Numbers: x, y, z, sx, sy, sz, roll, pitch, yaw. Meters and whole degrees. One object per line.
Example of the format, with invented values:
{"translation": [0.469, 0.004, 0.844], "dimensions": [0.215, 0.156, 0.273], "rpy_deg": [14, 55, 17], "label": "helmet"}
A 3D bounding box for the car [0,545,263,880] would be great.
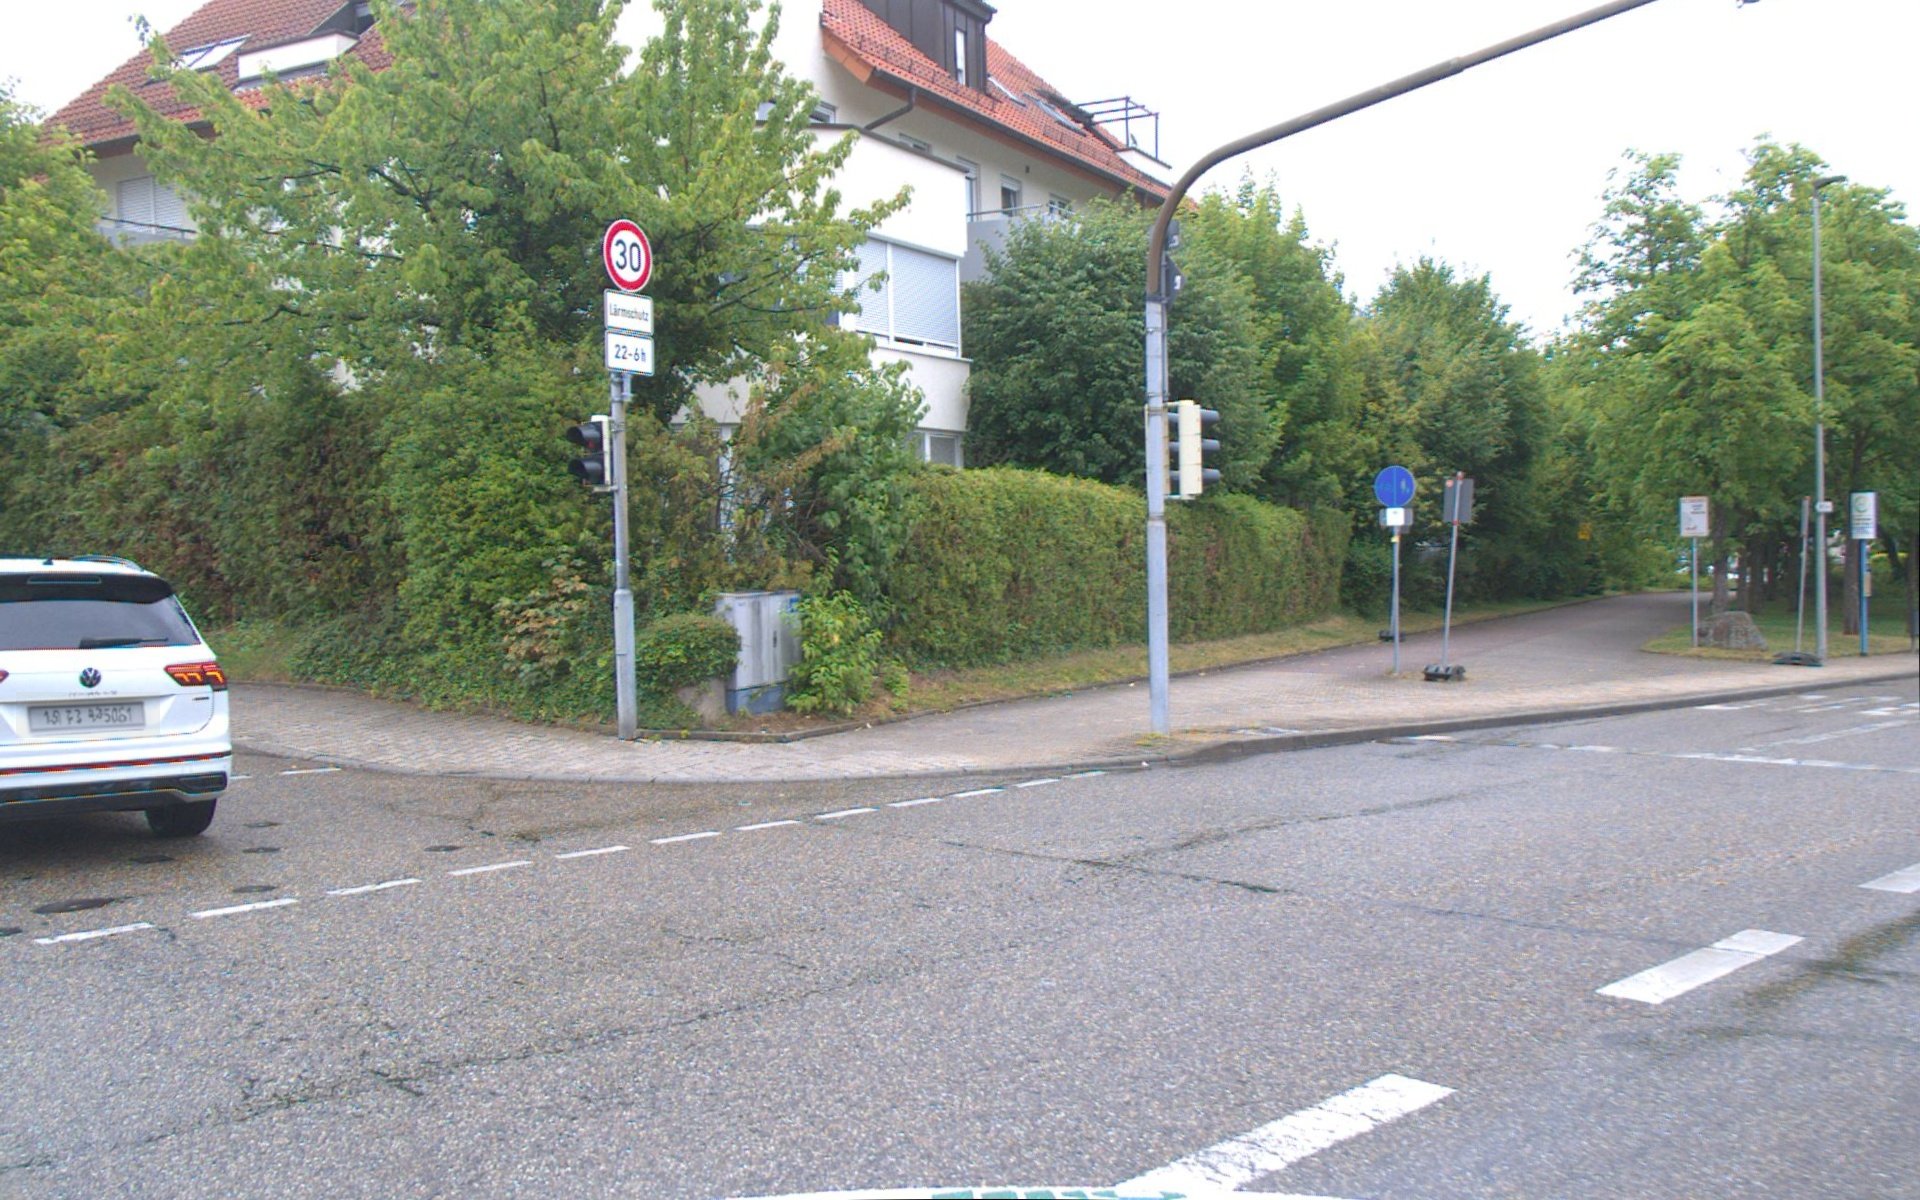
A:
{"translation": [-6.099, 0.548, 10.354], "dimensions": [4.201, 1.725, 1.756], "rpy_deg": [1, 1, 45], "label": "car"}
